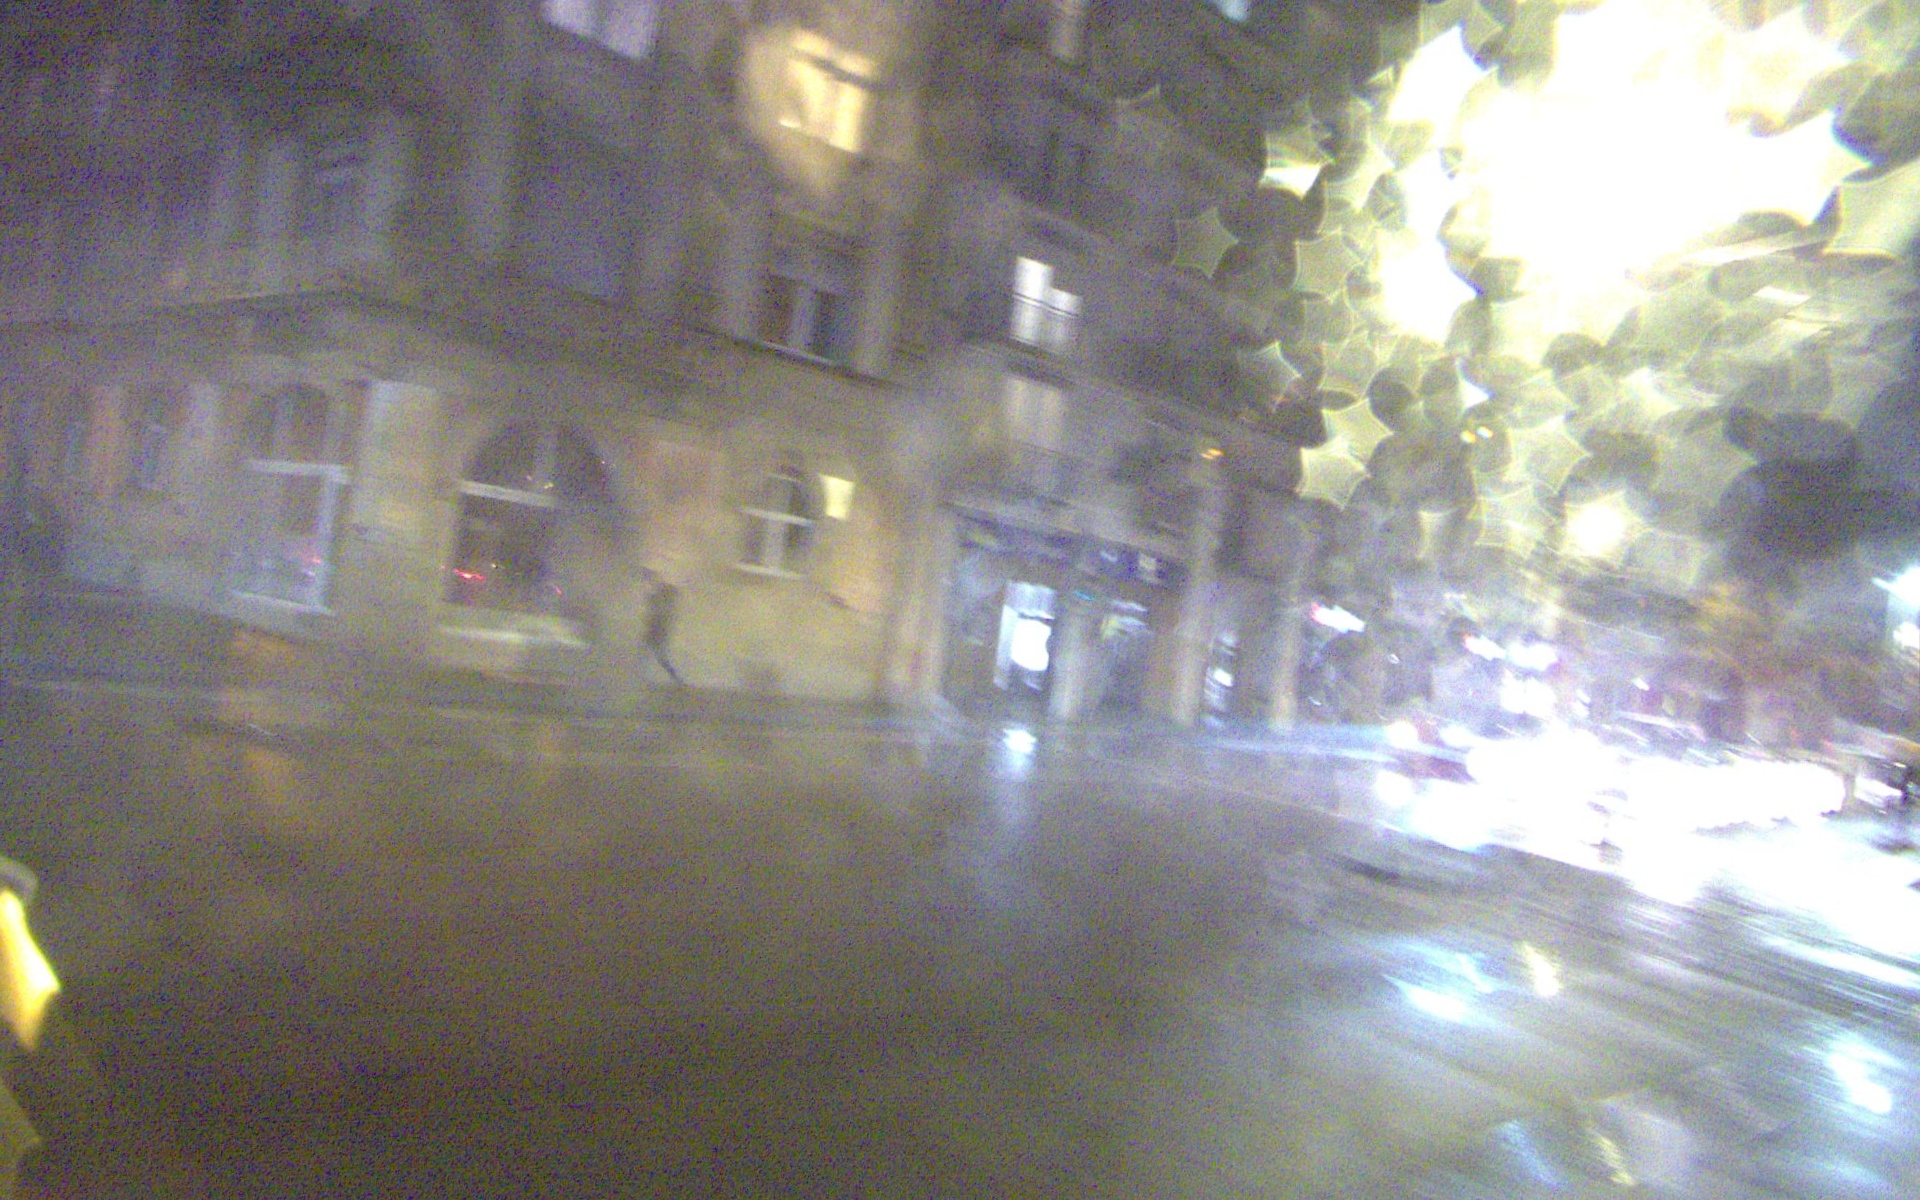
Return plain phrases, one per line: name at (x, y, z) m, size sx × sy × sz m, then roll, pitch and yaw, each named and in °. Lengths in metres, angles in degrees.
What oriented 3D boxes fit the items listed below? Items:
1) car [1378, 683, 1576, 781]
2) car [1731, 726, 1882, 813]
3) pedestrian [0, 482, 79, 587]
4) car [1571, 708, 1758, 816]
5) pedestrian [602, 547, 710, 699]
car at (11.231, 2.880, 21.737) m, size 4.553 × 1.597 × 1.903 m, roll 9°, pitch -2°, yaw -37°
car at (19.980, 4.006, 23.708) m, size 3.696 × 1.597 × 1.676 m, roll 9°, pitch -2°, yaw -34°
pedestrian at (-15.841, -1.116, 17.203) m, size 0.983 × 1.637 × 0.782 m, roll 7°, pitch 0°, yaw 32°
car at (13.383, 3.091, 19.040) m, size 3.768 × 1.597 × 1.725 m, roll 9°, pitch -2°, yaw -37°
pedestrian at (-4.514, 0.342, 14.907) m, size 0.970 × 2.039 × 1.003 m, roll 7°, pitch 3°, yaw -40°
